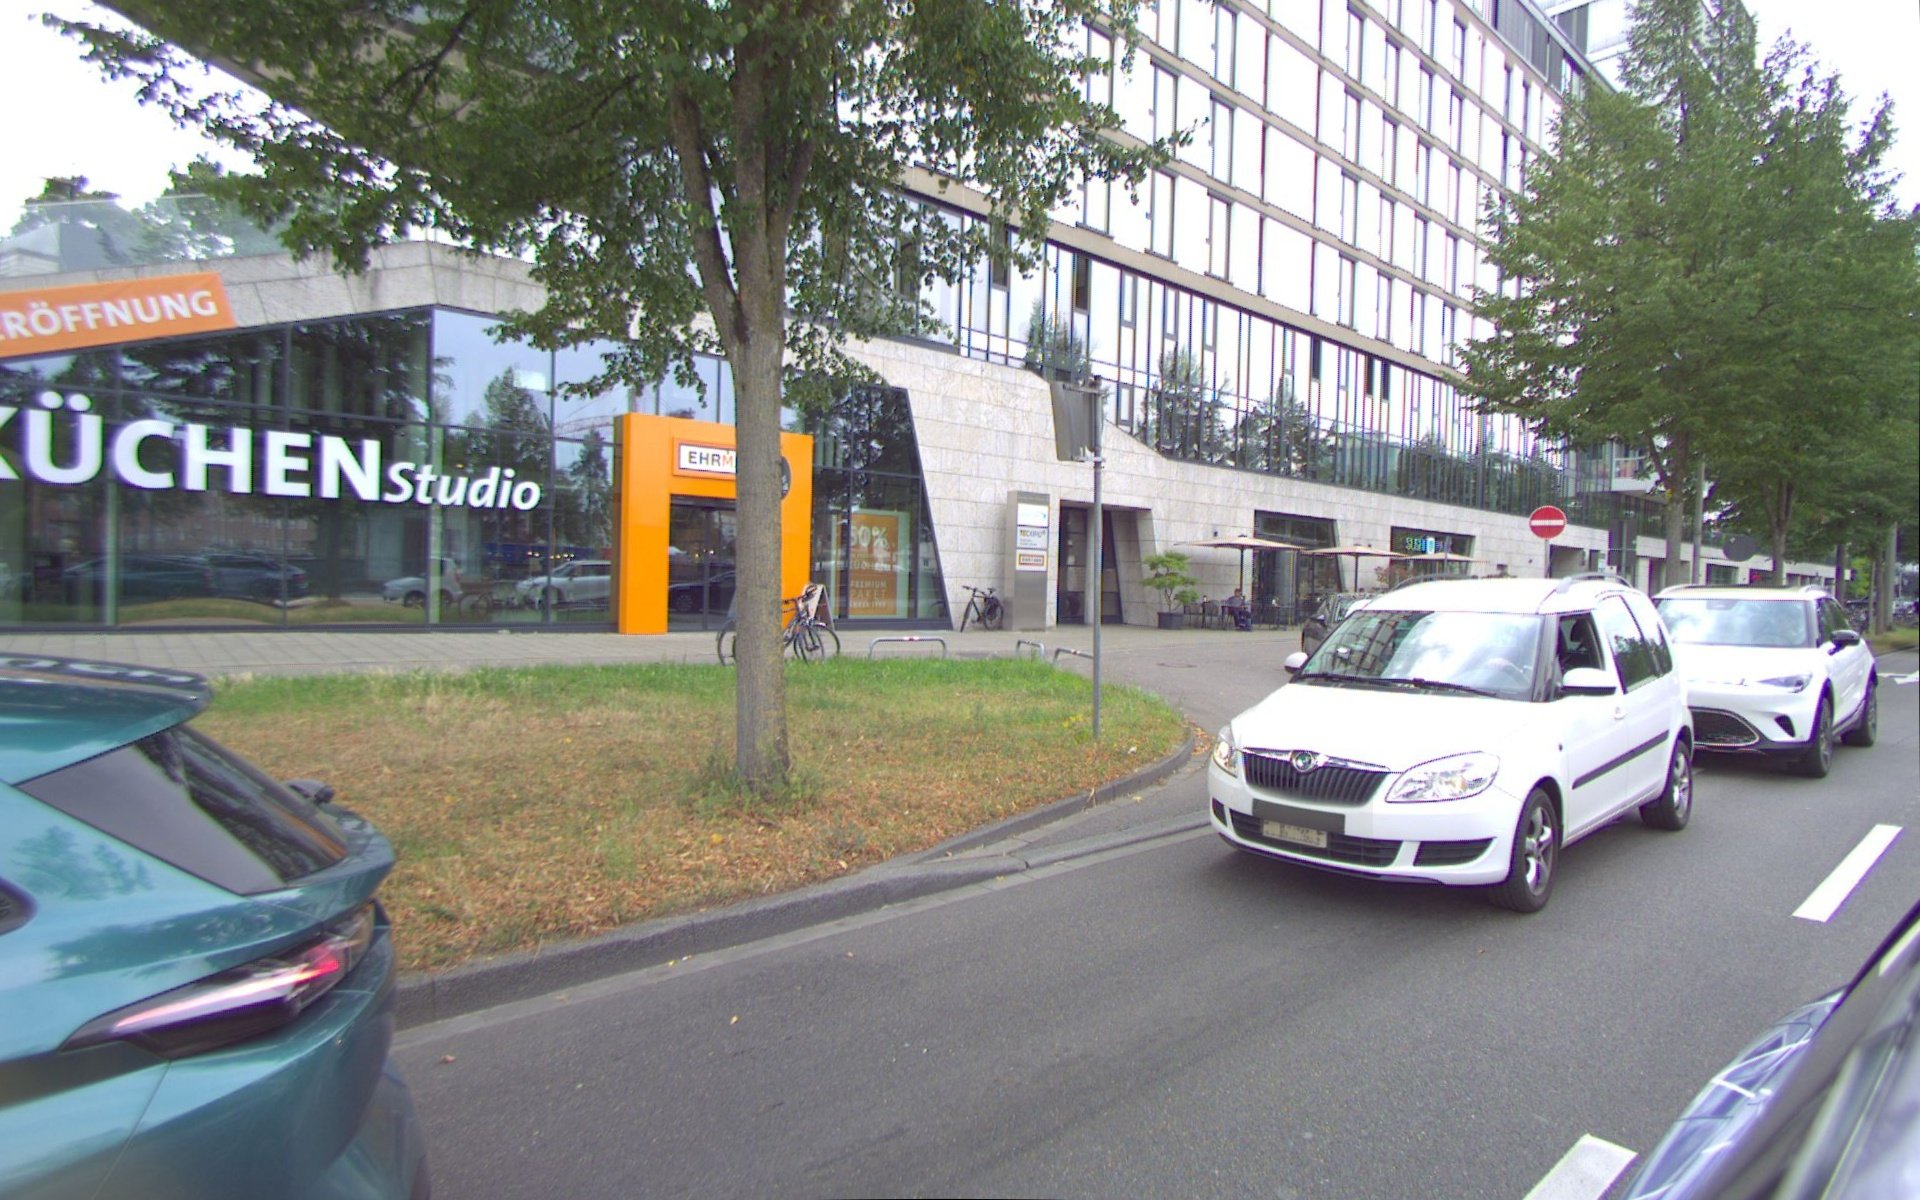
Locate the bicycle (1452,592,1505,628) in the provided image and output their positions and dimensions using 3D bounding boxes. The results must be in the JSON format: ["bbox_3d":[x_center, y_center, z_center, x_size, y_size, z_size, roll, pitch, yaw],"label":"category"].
[{"bbox_3d":[15.862,0.294,30.951,1.971,1.055,0.675,1,1,-39],"label":"bicycle"}]

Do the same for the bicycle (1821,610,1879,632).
[{"bbox_3d":[39.243,0.939,44.640,0.642,0.963,1.862,1,-2,-43],"label":"bicycle"}]

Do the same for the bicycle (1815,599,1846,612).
[{"bbox_3d":[85.836,0.513,99.793,2.231,1.191,0.961,2,1,42],"label":"bicycle"}]

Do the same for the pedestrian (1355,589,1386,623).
[{"bbox_3d":[14.928,0.224,36.809,0.745,1.207,0.720,1,1,-39],"label":"pedestrian"}]

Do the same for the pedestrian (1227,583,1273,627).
[{"bbox_3d":[8.512,0.148,29.701,0.932,1.243,0.900,1,1,-36],"label":"pedestrian"}]

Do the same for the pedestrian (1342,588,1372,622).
[{"bbox_3d":[14.203,0.178,36.181,0.746,1.207,0.720,1,1,-42],"label":"pedestrian"}]

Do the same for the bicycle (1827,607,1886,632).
[{"bbox_3d":[40.328,0.879,45.539,0.693,1.079,1.931,1,-2,-43],"label":"bicycle"}]

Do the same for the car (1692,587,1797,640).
[{"bbox_3d":[25.899,0.423,33.370,4.514,1.571,1.941,1,1,-42],"label":"car"}]

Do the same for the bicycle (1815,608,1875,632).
[{"bbox_3d":[38.212,0.874,43.708,0.564,1.008,1.862,1,-2,-43],"label":"bicycle"}]

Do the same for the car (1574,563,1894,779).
[{"bbox_3d":[7.649,0.561,9.870,3.954,1.677,1.781,0,0,-42],"label":"car"}]

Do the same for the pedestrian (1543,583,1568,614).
[{"bbox_3d":[28.342,-0.082,48.168,0.707,1.424,0.759,1,1,-33],"label":"pedestrian"}]

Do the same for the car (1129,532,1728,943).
[{"bbox_3d":[3.003,0.539,6.105,3.952,1.677,1.782,0,2,-41],"label":"car"}]

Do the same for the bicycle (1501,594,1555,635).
[{"bbox_3d":[16.725,0.429,29.768,1.971,1.157,0.675,1,2,-39],"label":"bicycle"}]

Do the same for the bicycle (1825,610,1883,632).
[{"bbox_3d":[39.811,0.935,45.097,0.602,0.963,1.862,1,-2,-43],"label":"bicycle"}]

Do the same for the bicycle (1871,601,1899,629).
[{"bbox_3d":[37.209,0.602,40.720,0.709,1.130,2.170,-2,-2,41],"label":"bicycle"}]

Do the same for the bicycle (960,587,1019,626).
[{"bbox_3d":[0.741,0.162,25.010,1.467,0.921,0.519,0,1,-41],"label":"bicycle"}]

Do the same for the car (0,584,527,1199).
[{"bbox_3d":[-2.797,0.690,0.709,4.239,1.450,1.789,0,0,-44],"label":"car"}]

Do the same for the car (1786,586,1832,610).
[{"bbox_3d":[61.695,-0.157,73.527,4.166,1.607,1.862,0,4,-41],"label":"car"}]

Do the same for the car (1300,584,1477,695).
[{"bbox_3d":[6.867,0.507,16.759,1.919,1.494,4.850,2,1,14],"label":"car"}]

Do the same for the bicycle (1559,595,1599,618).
[{"bbox_3d":[31.104,0.317,50.854,1.584,1.039,0.606,3,2,23],"label":"bicycle"}]

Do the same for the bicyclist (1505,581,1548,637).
[{"bbox_3d":[16.611,0.251,29.669,0.972,1.601,0.726,0,3,-39],"label":"bicyclist"}]

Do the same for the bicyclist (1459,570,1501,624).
[{"bbox_3d":[15.874,-0.095,30.906,0.971,1.601,0.727,0,3,-37],"label":"bicyclist"}]

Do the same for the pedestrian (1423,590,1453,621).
[{"bbox_3d":[19.014,0.226,40.246,0.743,1.207,0.723,1,1,-19],"label":"pedestrian"}]

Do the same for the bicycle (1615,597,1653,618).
[{"bbox_3d":[36.661,0.406,55.073,0.524,1.039,1.599,0,2,-43],"label":"bicycle"}]

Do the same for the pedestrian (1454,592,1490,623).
[{"bbox_3d":[20.632,0.293,40.770,1.083,1.207,0.776,1,1,-26],"label":"pedestrian"}]

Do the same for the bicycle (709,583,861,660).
[{"bbox_3d":[-2.376,0.270,13.966,0.630,0.968,2.074,2,2,44],"label":"bicycle"}]
